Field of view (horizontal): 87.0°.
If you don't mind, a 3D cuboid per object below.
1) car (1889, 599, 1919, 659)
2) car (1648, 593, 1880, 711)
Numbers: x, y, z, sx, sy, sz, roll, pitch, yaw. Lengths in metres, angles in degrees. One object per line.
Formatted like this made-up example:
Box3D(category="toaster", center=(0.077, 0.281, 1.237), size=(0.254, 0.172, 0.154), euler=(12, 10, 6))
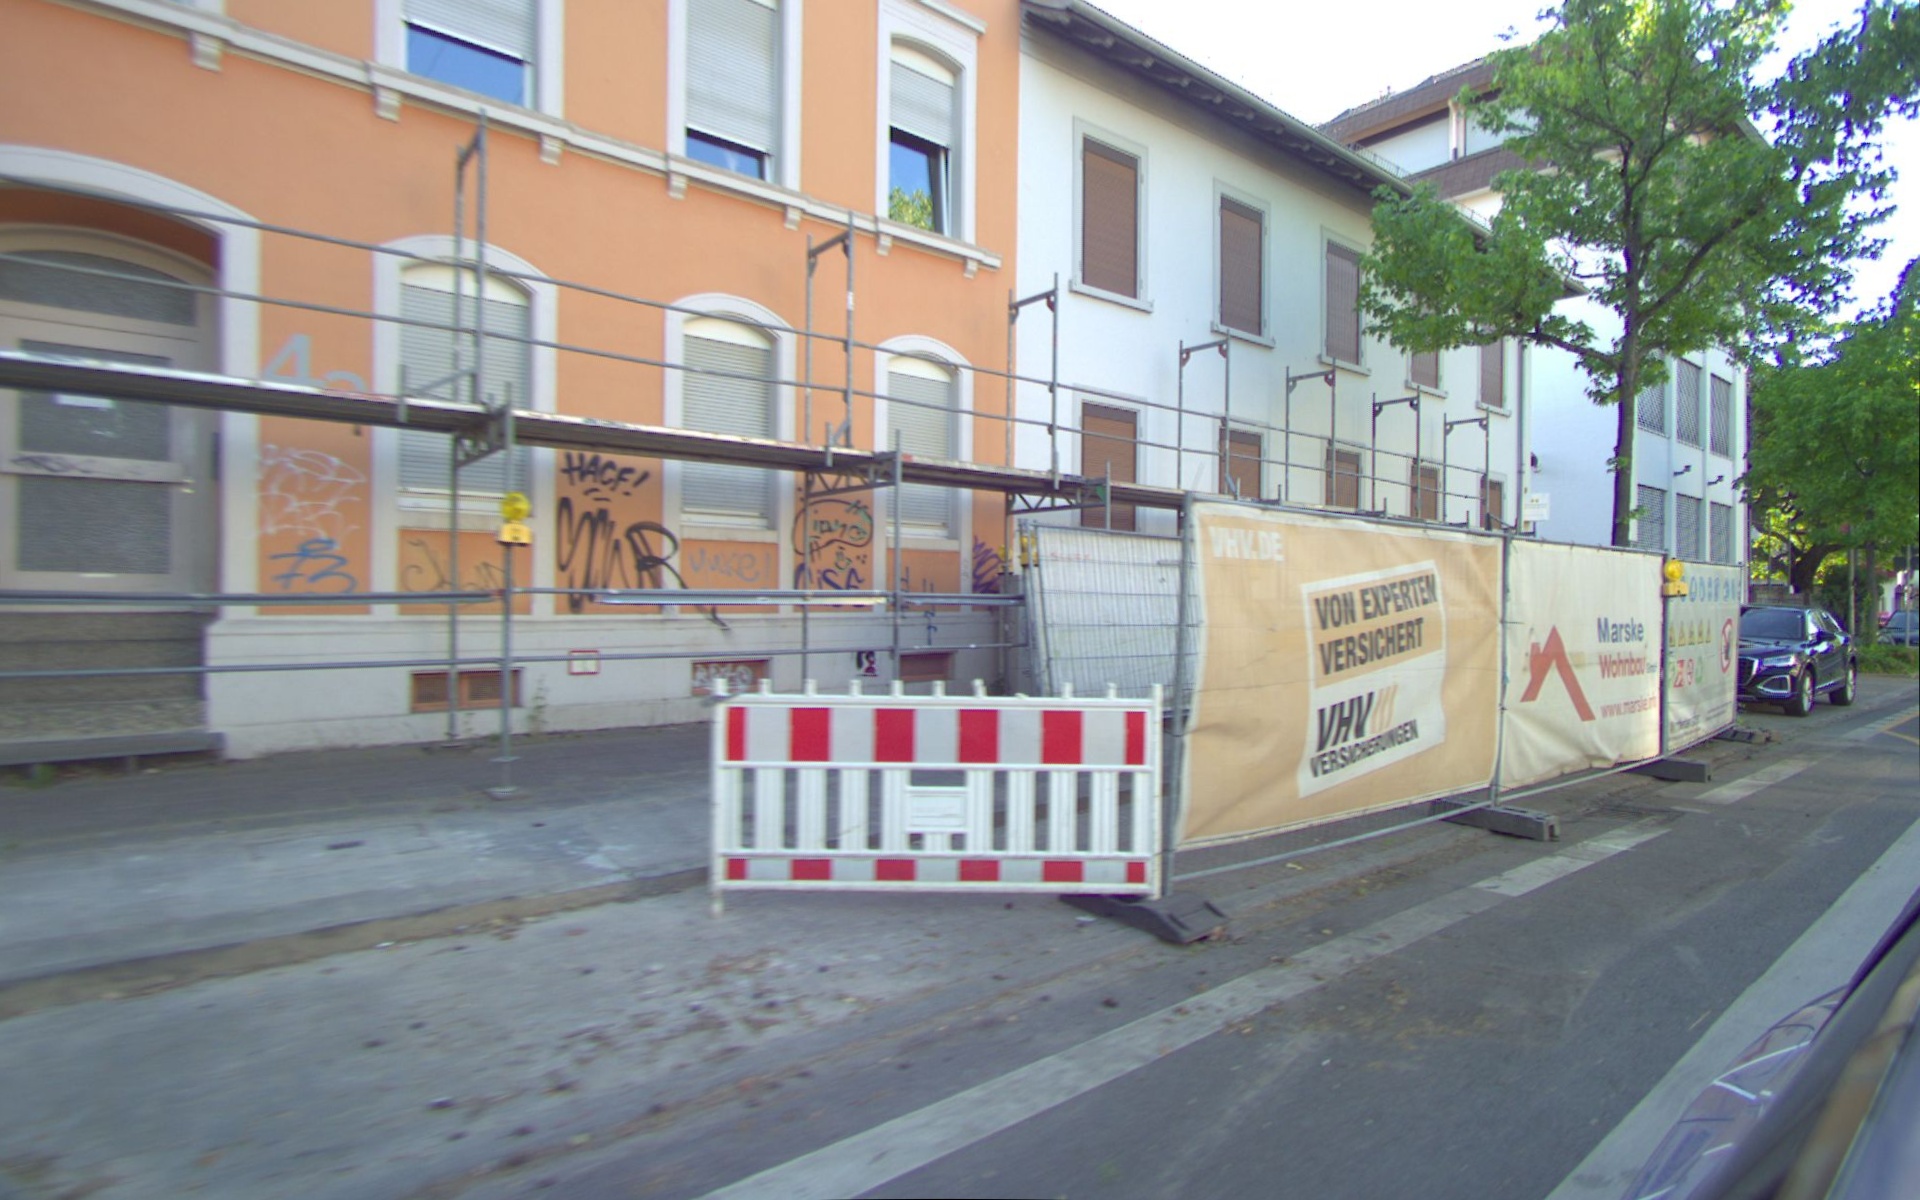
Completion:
Box3D(category="car", center=(25.080, 0.733, 25.783), size=(3.734, 1.465, 1.655), euler=(0, 1, -41))
Box3D(category="car", center=(12.083, 0.682, 15.134), size=(4.033, 1.502, 1.768), euler=(0, 1, -37))
